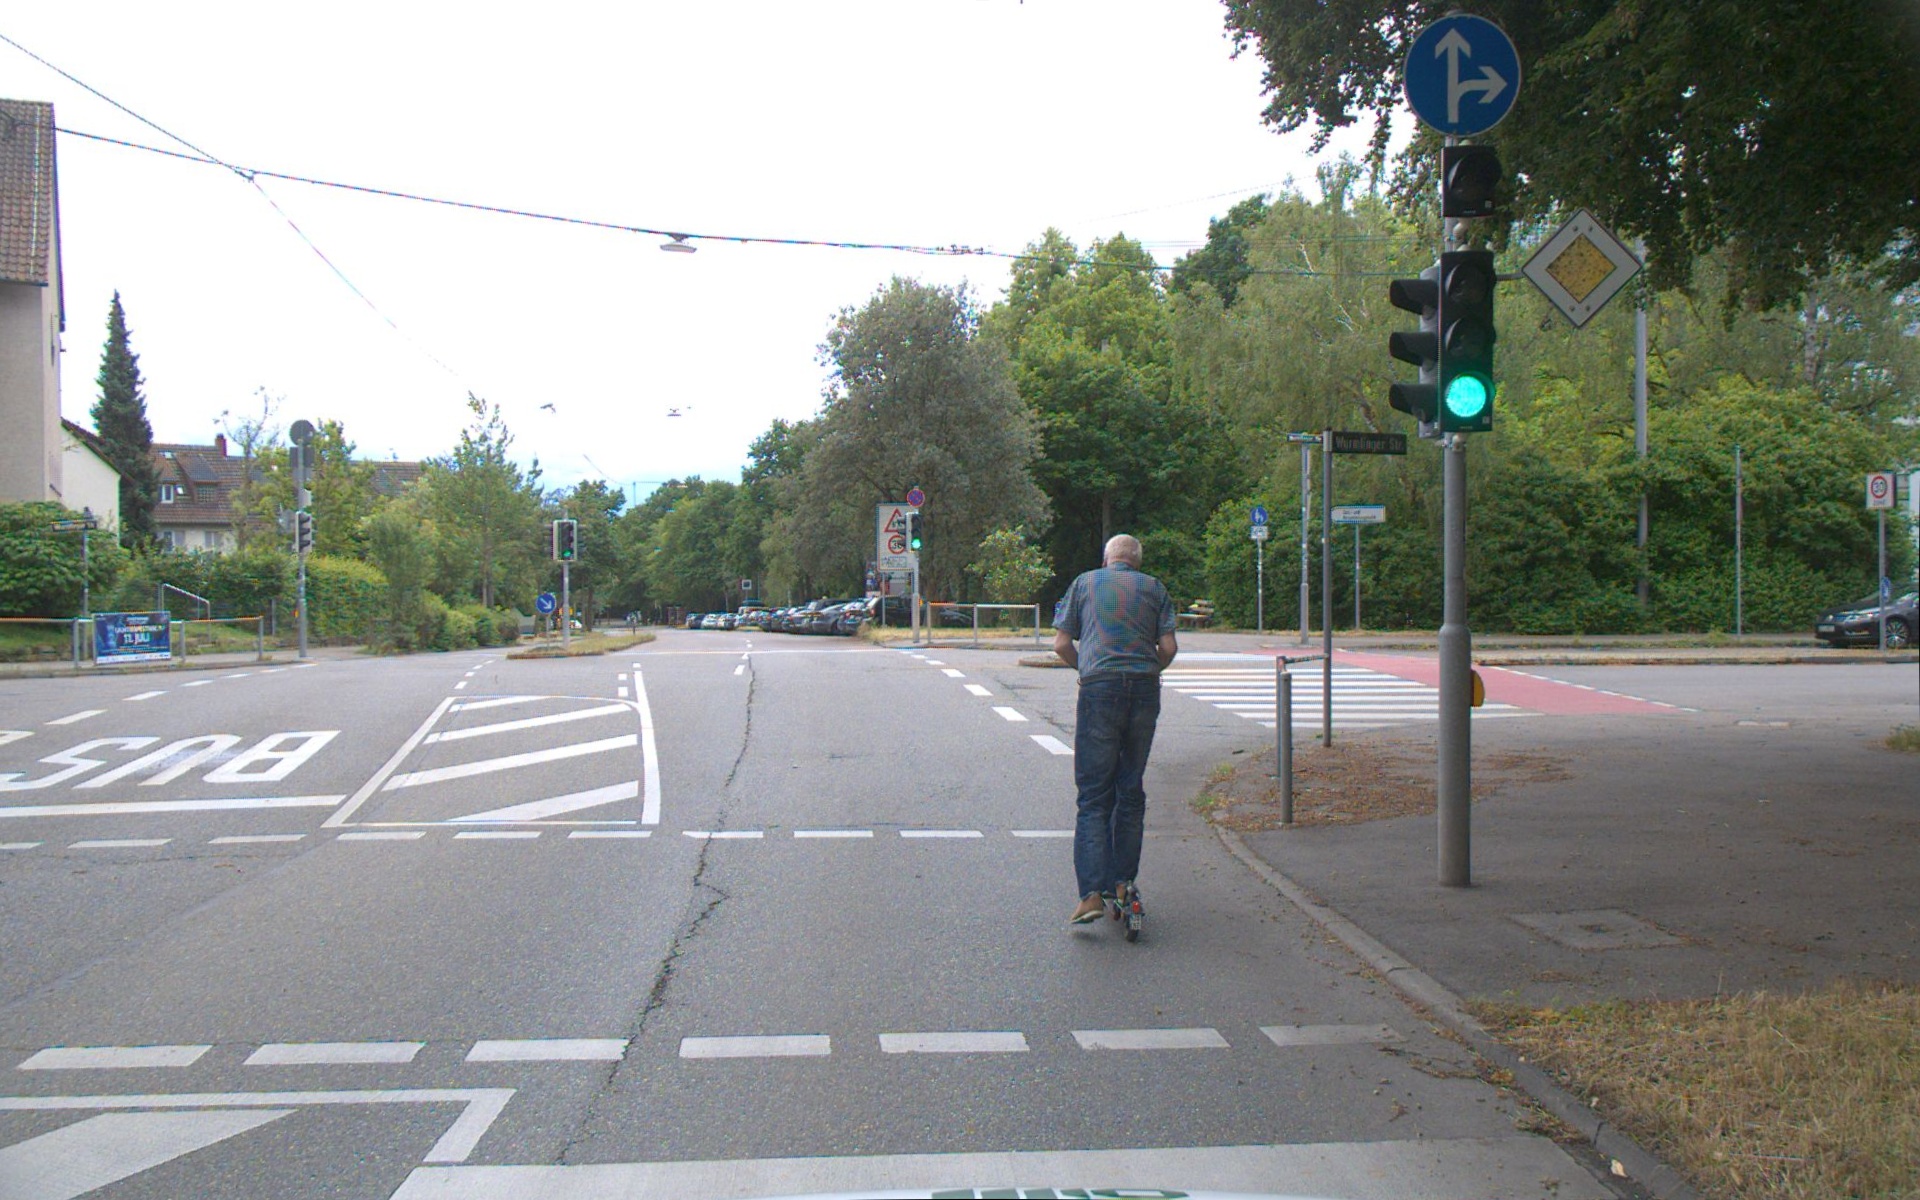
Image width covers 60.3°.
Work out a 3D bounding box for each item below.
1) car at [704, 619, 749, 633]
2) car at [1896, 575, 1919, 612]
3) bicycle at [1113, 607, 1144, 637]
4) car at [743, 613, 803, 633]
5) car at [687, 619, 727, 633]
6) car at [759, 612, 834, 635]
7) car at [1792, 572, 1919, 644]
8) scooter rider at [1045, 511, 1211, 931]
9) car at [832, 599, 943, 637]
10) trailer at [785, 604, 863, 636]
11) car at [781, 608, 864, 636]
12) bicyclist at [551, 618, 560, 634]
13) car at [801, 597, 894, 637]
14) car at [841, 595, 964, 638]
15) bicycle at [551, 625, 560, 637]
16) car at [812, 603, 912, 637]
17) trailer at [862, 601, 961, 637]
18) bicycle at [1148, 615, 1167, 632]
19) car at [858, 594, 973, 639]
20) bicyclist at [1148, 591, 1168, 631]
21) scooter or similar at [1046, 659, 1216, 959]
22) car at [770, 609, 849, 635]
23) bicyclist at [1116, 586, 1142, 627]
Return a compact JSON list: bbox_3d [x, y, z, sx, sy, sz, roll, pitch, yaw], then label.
[{"bbox_3d":[-21.908,2.429,155.092,3.853,1.332,1.722,0,-1,-36],"label":"car"},{"bbox_3d":[41.624,-0.274,70.692,1.888,1.572,4.067,0,0,16],"label":"car"},{"bbox_3d":[5.009,0.648,49.166,0.627,0.771,1.680,-1,2,-4],"label":"bicycle"},{"bbox_3d":[-13.370,1.666,118.350,3.916,1.430,1.742,1,-1,-26],"label":"car"},{"bbox_3d":[-26.447,2.694,172.847,3.845,1.454,1.725,0,-1,-31],"label":"car"},{"bbox_3d":[-9.961,1.414,100.677,4.257,1.364,1.720,0,-1,-25],"label":"car"},{"bbox_3d":[20.527,0.141,35.218,4.693,1.464,2.036,-1,0,-7],"label":"car"},{"bbox_3d":[0.735,0.496,7.529,0.667,1.760,1.197,0,1,2],"label":"scooter rider"},{"bbox_3d":[-2.905,0.709,66.319,4.157,1.490,1.625,0,-1,-20],"label":"car"},{"bbox_3d":[-6.826,1.007,82.966,3.638,1.562,1.634,0,-1,-23],"label":"trailer"},{"bbox_3d":[-7.080,1.139,85.208,3.977,1.351,1.550,0,-2,-20],"label":"car"},{"bbox_3d":[-43.186,2.792,176.510,0.830,1.727,0.711,0,0,-11],"label":"bicyclist"},{"bbox_3d":[-5.153,0.769,75.580,3.927,1.755,1.670,0,-2,-21],"label":"car"},{"bbox_3d":[-2.032,0.583,58.617,4.077,1.502,1.566,0,-1,-22],"label":"car"},{"bbox_3d":[-43.168,3.293,176.454,0.830,1.288,2.644,0,0,-12],"label":"bicycle"},{"bbox_3d":[-4.339,0.879,73.043,4.101,1.431,1.686,0,-2,-22],"label":"car"},{"bbox_3d":[-1.819,0.720,61.557,3.352,1.289,1.606,0,-2,-21],"label":"trailer"},{"bbox_3d":[6.078,0.722,50.874,0.507,0.506,0.988,-1,-2,2],"label":"bicycle"},{"bbox_3d":[-1.522,0.557,56.072,3.652,1.502,1.571,0,0,-14],"label":"car"},{"bbox_3d":[6.075,0.335,50.883,0.507,1.208,0.968,-1,-2,2],"label":"bicyclist"},{"bbox_3d":[0.745,0.891,7.563,0.667,1.159,1.460,0,1,2],"label":"scooter or similar"},{"bbox_3d":[-8.683,1.266,95.384,4.290,1.471,1.621,0,-1,-26],"label":"car"},{"bbox_3d":[5.007,0.196,49.128,0.627,1.182,0.803,-1,2,-4],"label":"bicyclist"}]
